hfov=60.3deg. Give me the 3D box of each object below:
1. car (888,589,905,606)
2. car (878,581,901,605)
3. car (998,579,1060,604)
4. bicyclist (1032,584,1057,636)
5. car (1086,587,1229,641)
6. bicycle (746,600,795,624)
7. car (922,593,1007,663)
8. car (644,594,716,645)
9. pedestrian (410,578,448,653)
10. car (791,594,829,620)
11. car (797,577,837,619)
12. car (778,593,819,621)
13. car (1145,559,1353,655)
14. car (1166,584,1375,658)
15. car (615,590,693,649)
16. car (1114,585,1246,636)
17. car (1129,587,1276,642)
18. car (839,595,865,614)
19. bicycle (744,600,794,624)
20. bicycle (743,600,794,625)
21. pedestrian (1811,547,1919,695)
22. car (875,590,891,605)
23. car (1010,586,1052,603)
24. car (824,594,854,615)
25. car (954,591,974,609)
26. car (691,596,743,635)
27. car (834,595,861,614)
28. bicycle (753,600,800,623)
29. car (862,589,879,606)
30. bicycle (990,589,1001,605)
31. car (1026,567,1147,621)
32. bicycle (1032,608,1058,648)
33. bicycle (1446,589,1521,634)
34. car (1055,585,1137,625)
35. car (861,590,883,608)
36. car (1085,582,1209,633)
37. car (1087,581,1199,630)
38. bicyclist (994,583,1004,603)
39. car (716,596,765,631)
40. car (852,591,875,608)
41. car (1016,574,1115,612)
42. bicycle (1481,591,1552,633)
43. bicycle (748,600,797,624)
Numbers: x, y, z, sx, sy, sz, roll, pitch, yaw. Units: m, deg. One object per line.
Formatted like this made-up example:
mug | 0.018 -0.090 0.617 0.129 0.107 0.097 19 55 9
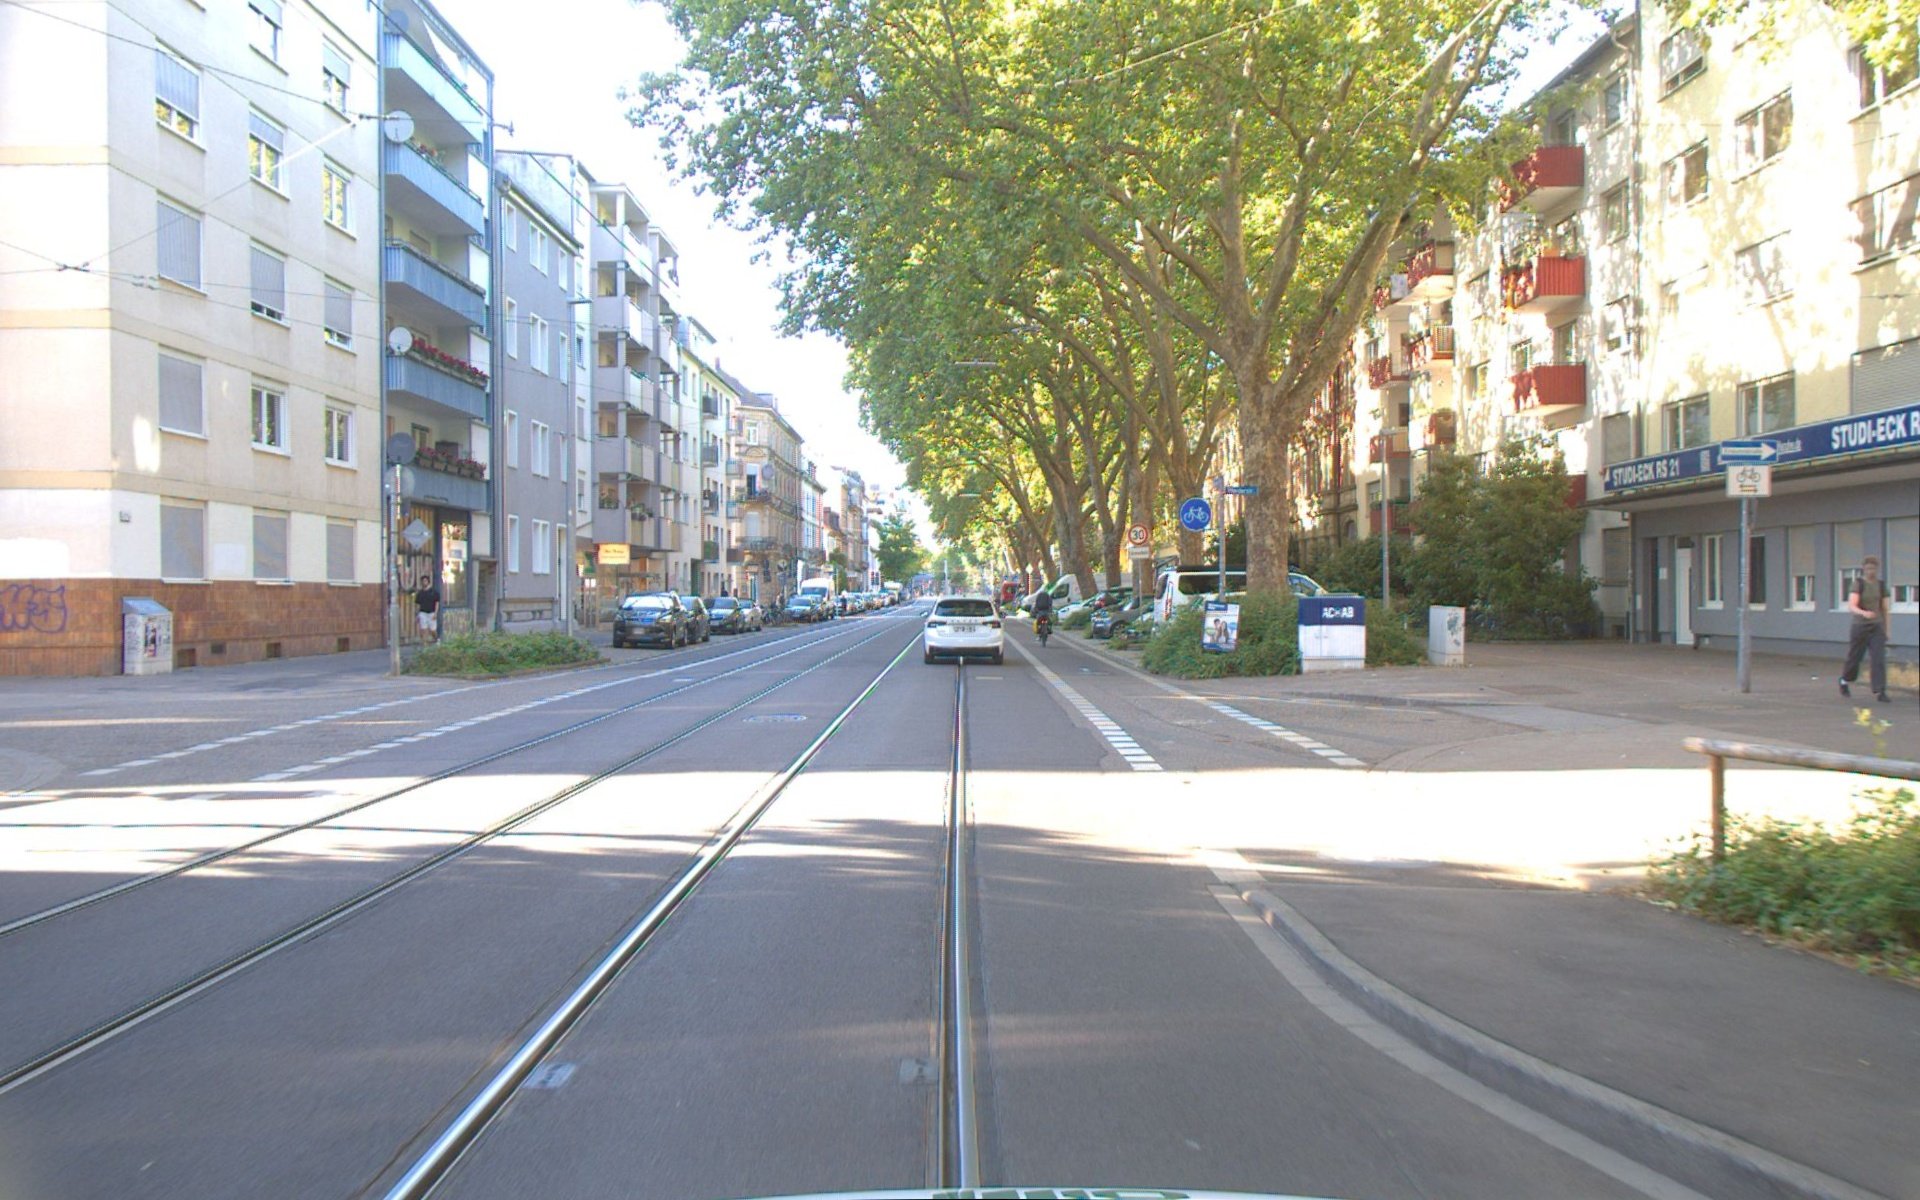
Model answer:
car | -8.124 -0.351 211.194 1.953 2.049 4.000 -1 0 0
car | -9.788 -0.952 230.169 2.907 3.211 5.847 0 0 0
car | 6.878 -0.848 164.591 6.007 2.322 2.528 -1 0 -2
bicyclist | 2.427 0.278 47.667 0.664 1.468 1.047 -1 0 1
car | 5.932 0.414 49.962 4.059 1.540 1.931 -1 0 -1
bicycle | -9.760 0.623 85.289 2.475 1.193 0.718 1 -2 -5
car | 0.101 0.562 35.861 1.725 1.408 4.000 -1 0 0
car | -9.384 0.622 55.730 1.667 1.571 4.241 2 0 0
pedestrian | -13.205 0.379 41.157 0.650 1.858 0.965 -1 0 -2
car | -9.148 0.416 101.336 1.953 1.557 4.000 -1 0 0
car | -9.254 -0.148 107.279 2.134 2.642 4.948 -1 0 0
car | -9.300 0.398 95.554 1.953 1.557 4.000 -1 0 0
car | 6.714 0.158 38.753 4.453 2.113 2.000 -1 0 -3
car | 6.732 0.446 36.175 4.210 1.505 1.830 -1 0 -1
car | -9.299 0.556 50.560 1.668 1.679 4.240 2 0 -2
car | 6.938 0.319 52.407 3.906 1.540 1.761 -1 0 -1
car | 6.951 0.399 47.713 3.953 1.505 1.923 -1 0 0
car | -9.226 0.378 141.569 1.953 1.557 4.000 -1 0 0
bicycle | -9.745 0.626 84.403 2.476 1.193 0.718 1 -2 -7
bicycle | -9.670 0.631 83.636 2.509 1.193 0.870 2 -2 -40
pedestrian | 12.067 0.271 22.059 0.751 1.899 1.188 -1 0 -4
car | -10.393 -0.303 223.010 1.953 2.049 4.000 0 0 0
car | 6.832 -0.555 159.898 3.966 1.567 2.000 -1 0 -1
car | -9.327 0.320 127.607 1.953 1.557 4.000 -1 0 0
car | 0.353 -0.021 142.335 1.725 1.501 4.000 -1 0 0
car | -9.692 0.599 66.174 1.620 1.462 3.835 -1 0 -2
car | -9.306 0.358 136.760 1.953 1.557 4.000 -1 0 0
bicycle | -9.784 0.616 88.181 2.476 1.193 0.718 1 -2 -6
car | -11.264 -0.315 208.709 1.953 2.049 4.000 -1 0 0
bicycle | 2.441 -0.187 113.392 0.636 1.089 1.582 -1 0 -2
car | 6.500 -0.315 85.745 6.007 2.681 2.528 -1 0 -2
bicycle | 2.432 0.786 47.596 0.667 1.089 1.781 -1 0 1
bicycle | 14.636 0.317 46.252 1.908 1.177 0.571 -3 0 -8
car | 6.013 0.200 73.490 3.558 1.695 1.823 -1 0 2
car | -8.688 -0.083 163.609 1.953 1.668 4.000 0 0 0
car | 6.589 0.248 58.573 4.149 1.695 1.847 -1 0 -1
car | 6.696 0.204 60.880 3.906 1.709 1.723 -1 0 -1
bicyclist | 2.669 -0.458 113.299 0.636 1.367 0.934 -1 0 -2
car | -9.449 0.576 71.451 1.454 1.428 3.991 -1 0 2
car | -9.148 -0.084 156.918 1.953 1.557 4.000 -1 0 0
car | 6.613 -0.443 104.365 6.007 2.322 2.528 -1 0 -2
bicycle | 15.532 0.334 46.189 1.756 1.060 0.617 -3 0 -4
bicycle | -9.785 0.616 86.277 2.475 1.193 0.718 1 -2 -5
